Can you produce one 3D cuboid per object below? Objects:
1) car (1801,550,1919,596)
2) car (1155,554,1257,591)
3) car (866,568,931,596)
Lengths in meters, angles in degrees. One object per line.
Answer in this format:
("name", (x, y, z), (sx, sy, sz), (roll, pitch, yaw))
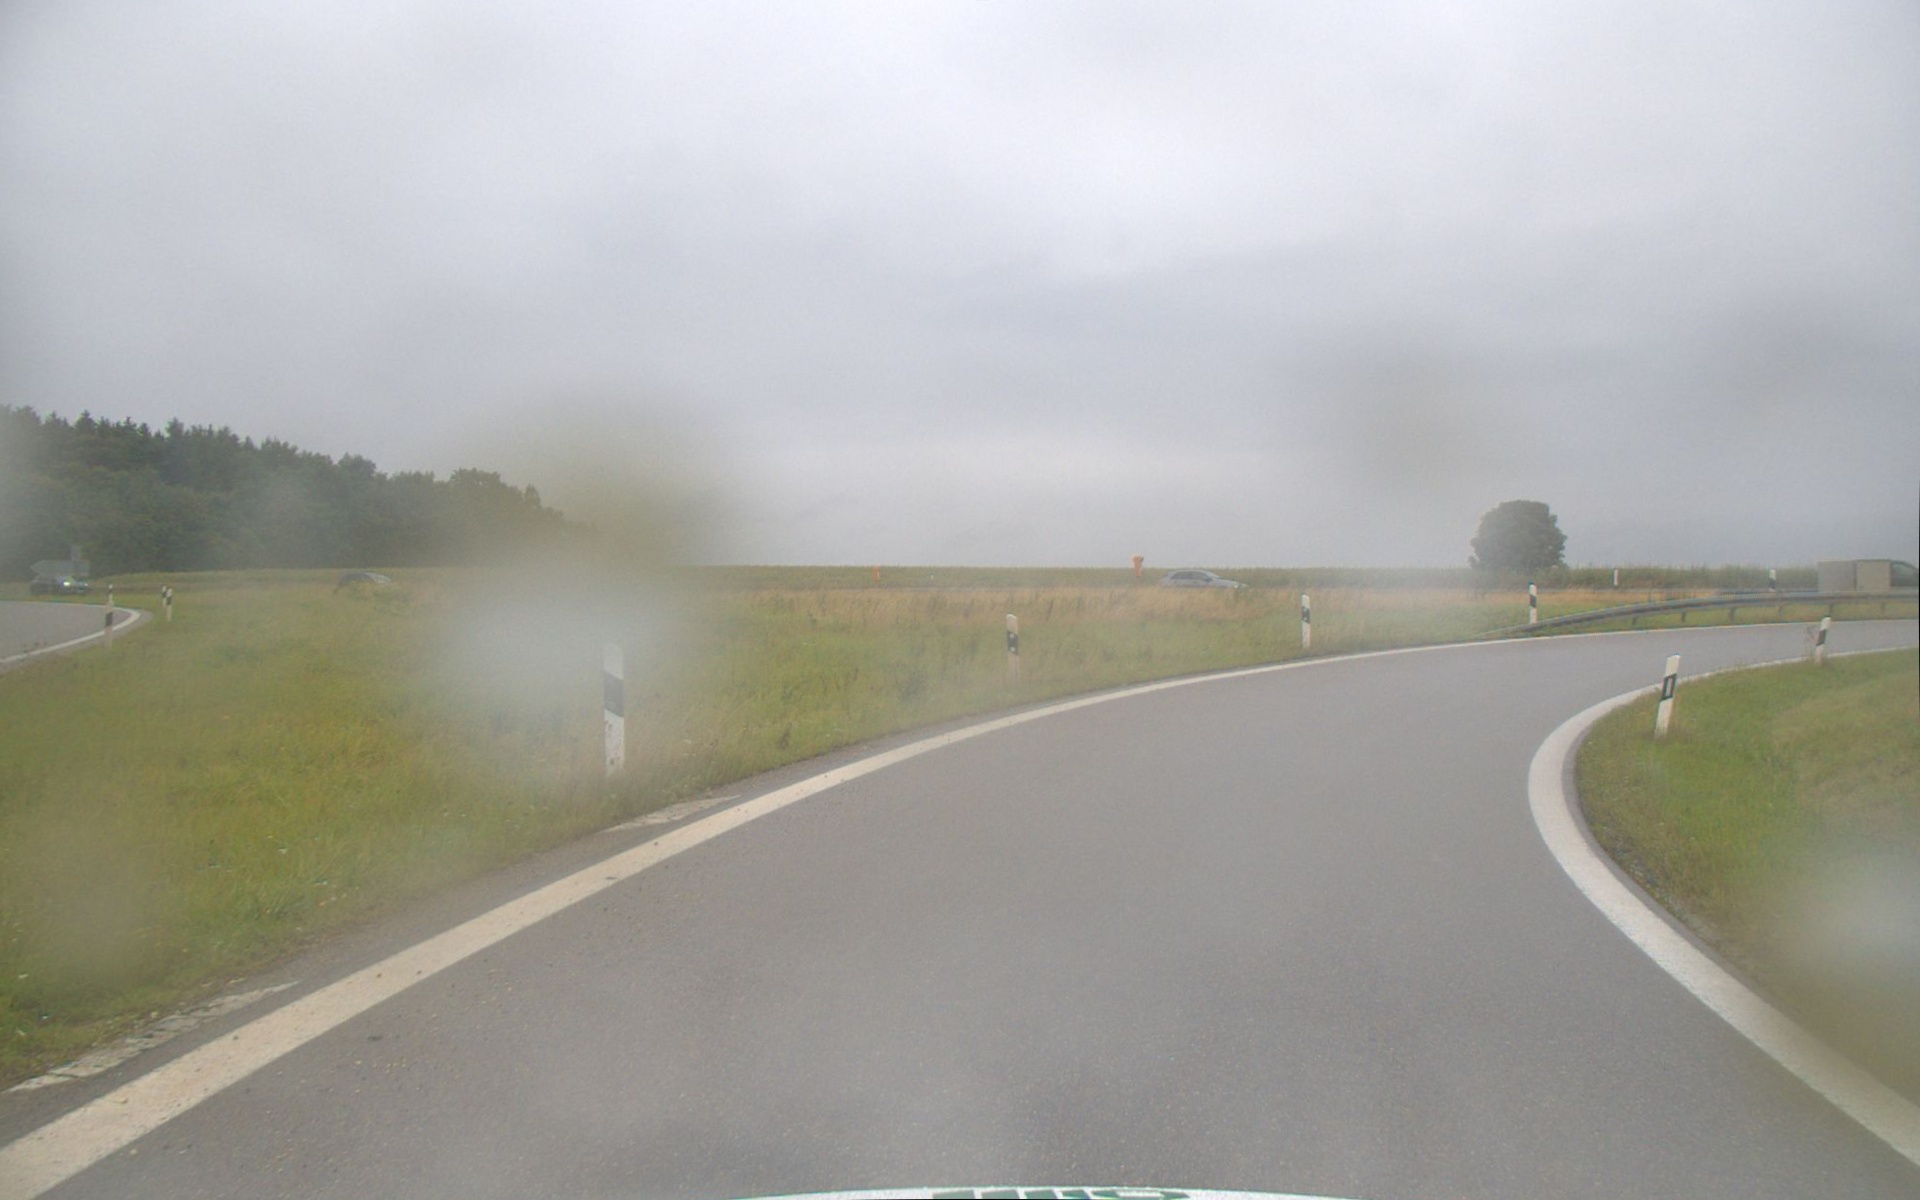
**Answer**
("car", (34.329, -1.028, 62.755), (4.253, 1.664, 2.056), (0, 1, 30))
("car", (11.341, -1.250, 76.308), (4.253, 1.664, 2.056), (0, 1, 30))
("car", (-4.021, -1.208, 108.643), (3.908, 1.767, 1.734), (0, 1, 26))
